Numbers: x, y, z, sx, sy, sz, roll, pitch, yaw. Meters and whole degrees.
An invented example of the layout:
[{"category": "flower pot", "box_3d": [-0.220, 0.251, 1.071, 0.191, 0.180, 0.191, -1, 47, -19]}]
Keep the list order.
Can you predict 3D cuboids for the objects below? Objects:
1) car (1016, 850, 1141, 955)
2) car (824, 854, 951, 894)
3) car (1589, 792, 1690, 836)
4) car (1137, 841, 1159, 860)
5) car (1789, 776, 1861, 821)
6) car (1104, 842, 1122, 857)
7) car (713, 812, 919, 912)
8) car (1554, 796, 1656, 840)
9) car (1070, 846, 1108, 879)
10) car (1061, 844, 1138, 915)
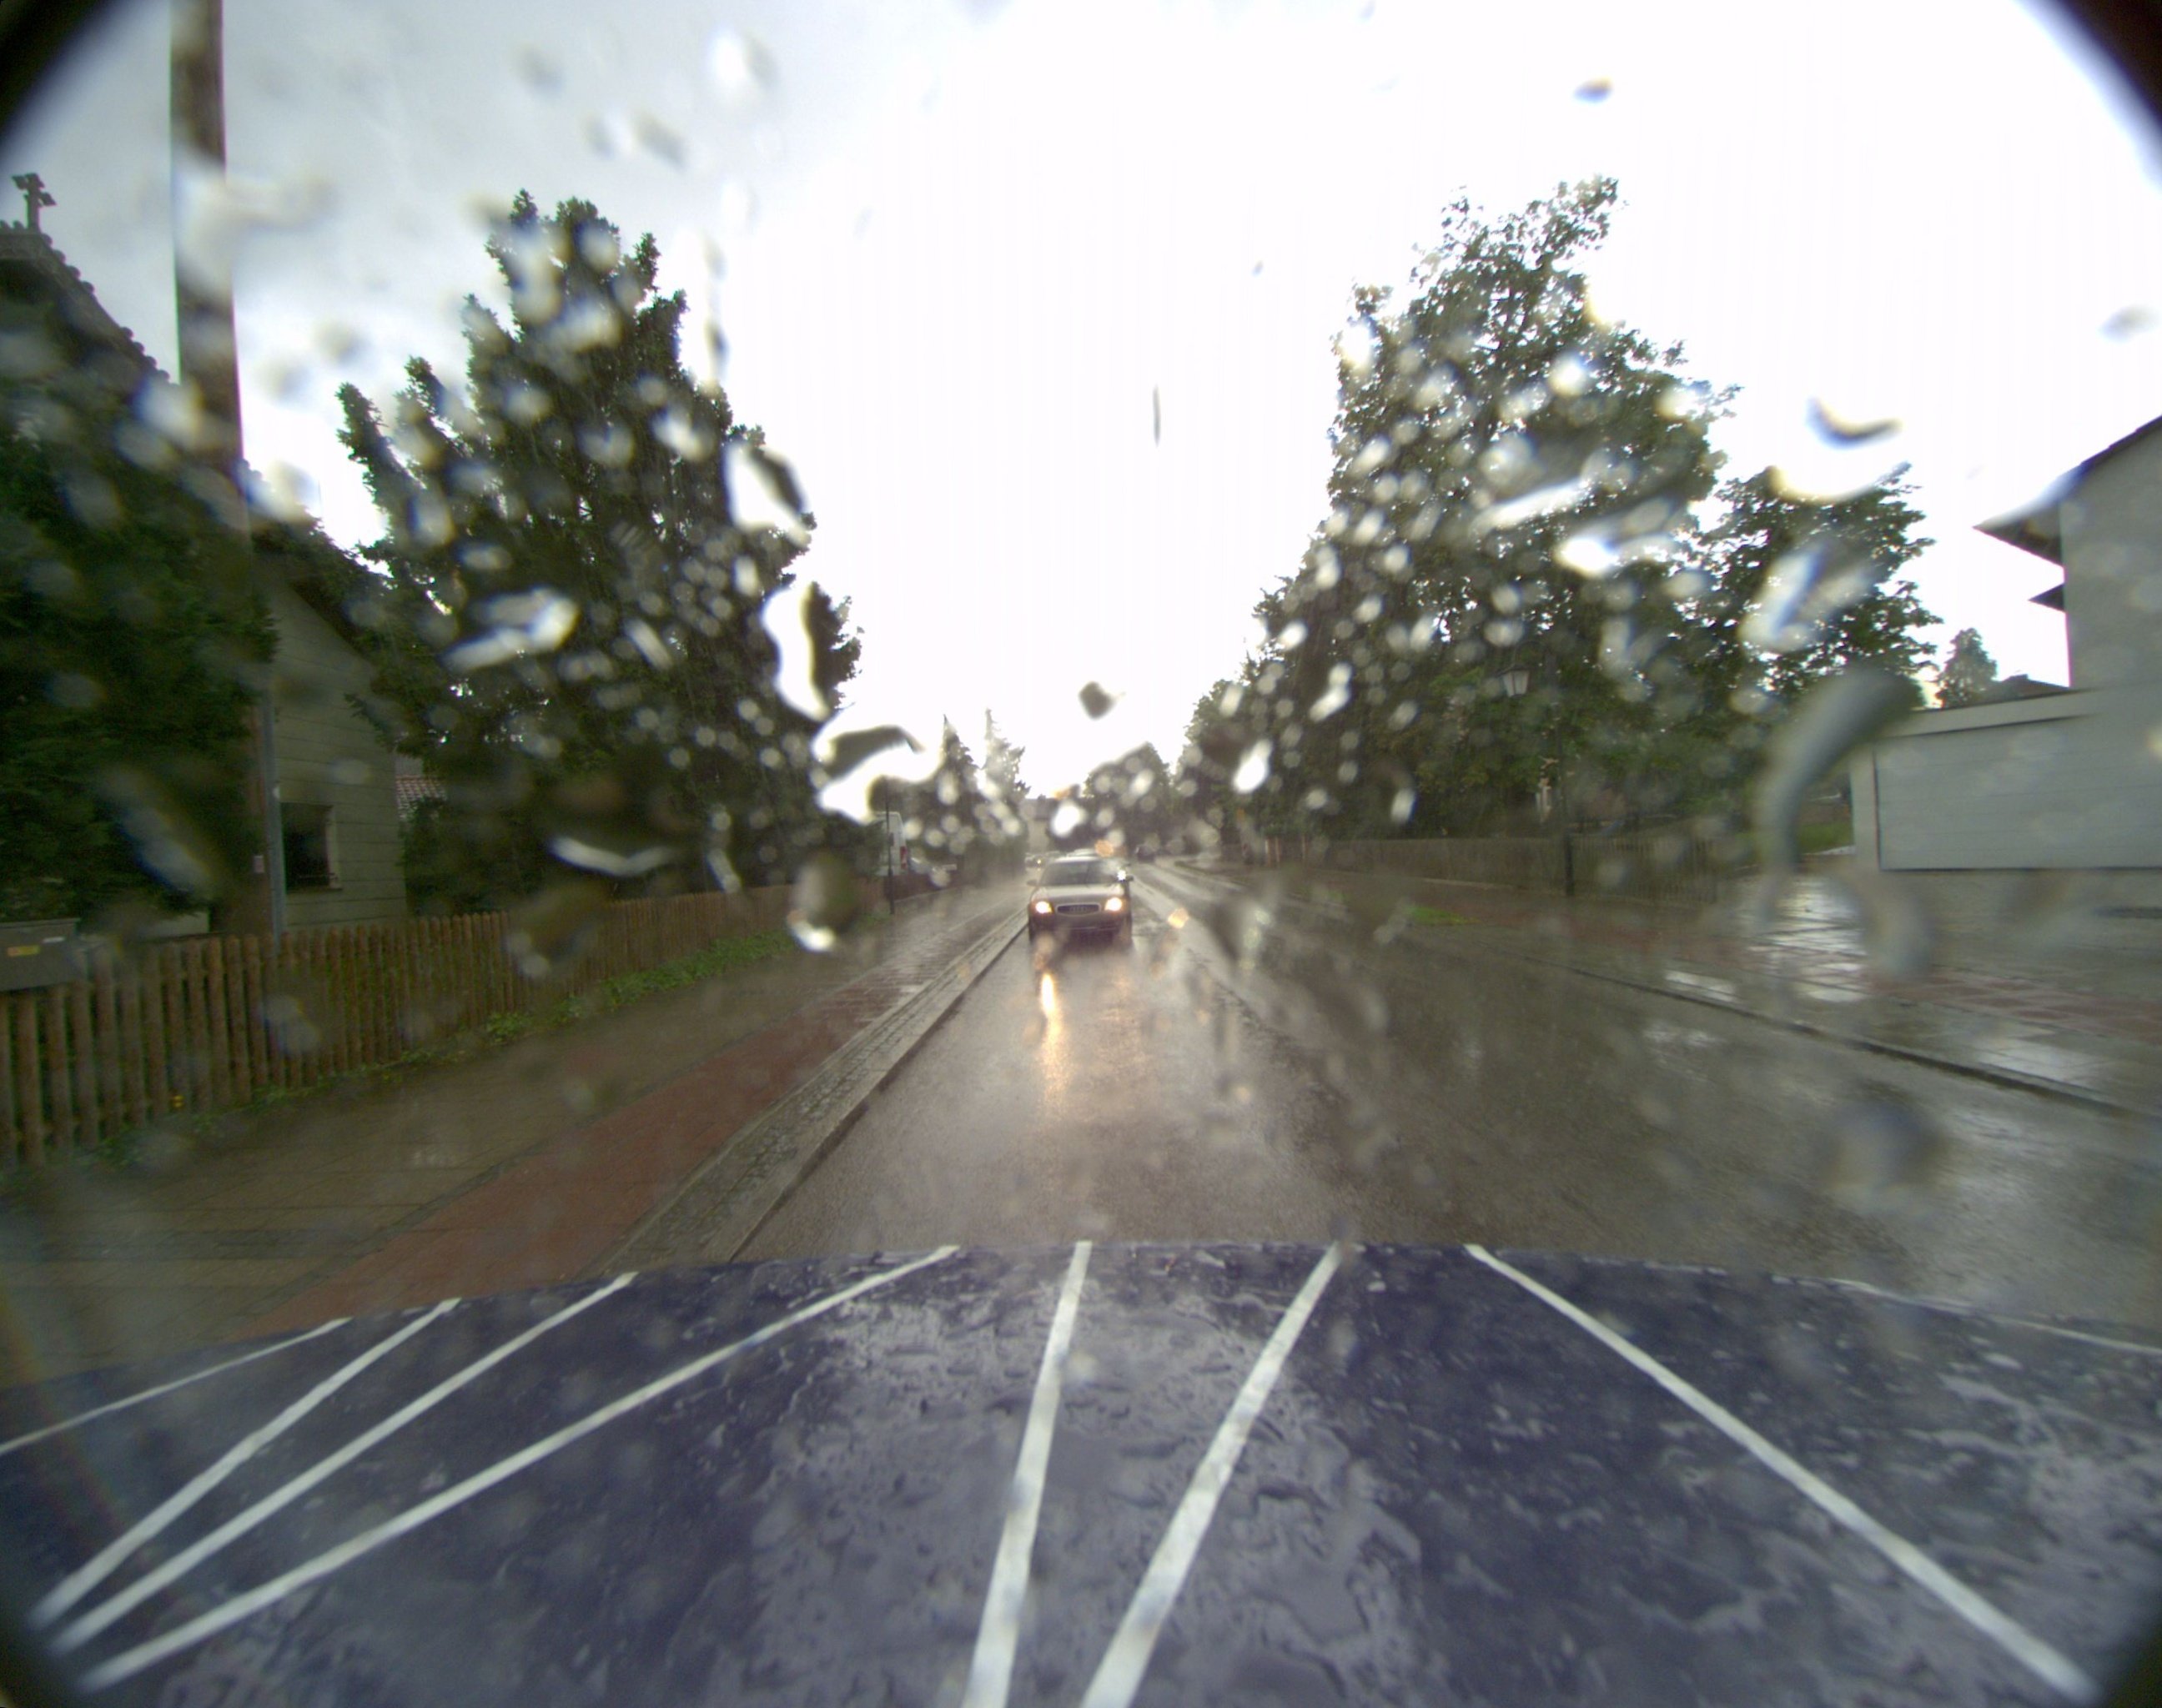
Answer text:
[{"category": "car", "box_3d": [-0.002, 0.747, 13.903, 1.872, 1.512, 4.188, -3, 1, 1]}, {"category": "car", "box_3d": [-7.193, 0.732, 28.668, 4.443, 1.413, 1.829, 0, 1, -7]}, {"category": "car", "box_3d": [28.882, -2.046, 39.381, 1.845, 1.792, 3.649, -6, 0, -33]}, {"category": "car", "box_3d": [5.905, -0.311, 67.342, 1.642, 1.512, 4.188, -4, 0, 1]}, {"category": "car", "box_3d": [40.972, -3.057, 41.823, 3.857, 2.281, 1.782, -3, 1, -29]}, {"category": "car", "box_3d": [3.614, -0.533, 87.063, 1.785, 1.457, 4.374, -4, 1, 0]}, {"category": "car", "box_3d": [-7.478, 0.185, 21.976, 5.320, 2.712, 1.998, 0, 1, -8]}, {"category": "car", "box_3d": [26.238, -1.771, 38.140, 1.845, 1.792, 3.649, -6, 0, -33]}, {"category": "car", "box_3d": [0.452, 0.413, 41.357, 1.872, 1.512, 4.960, -5, 1, 1]}, {"category": "car", "box_3d": [0.528, 0.629, 22.070, 1.872, 1.603, 4.960, -5, 2, 1]}]
